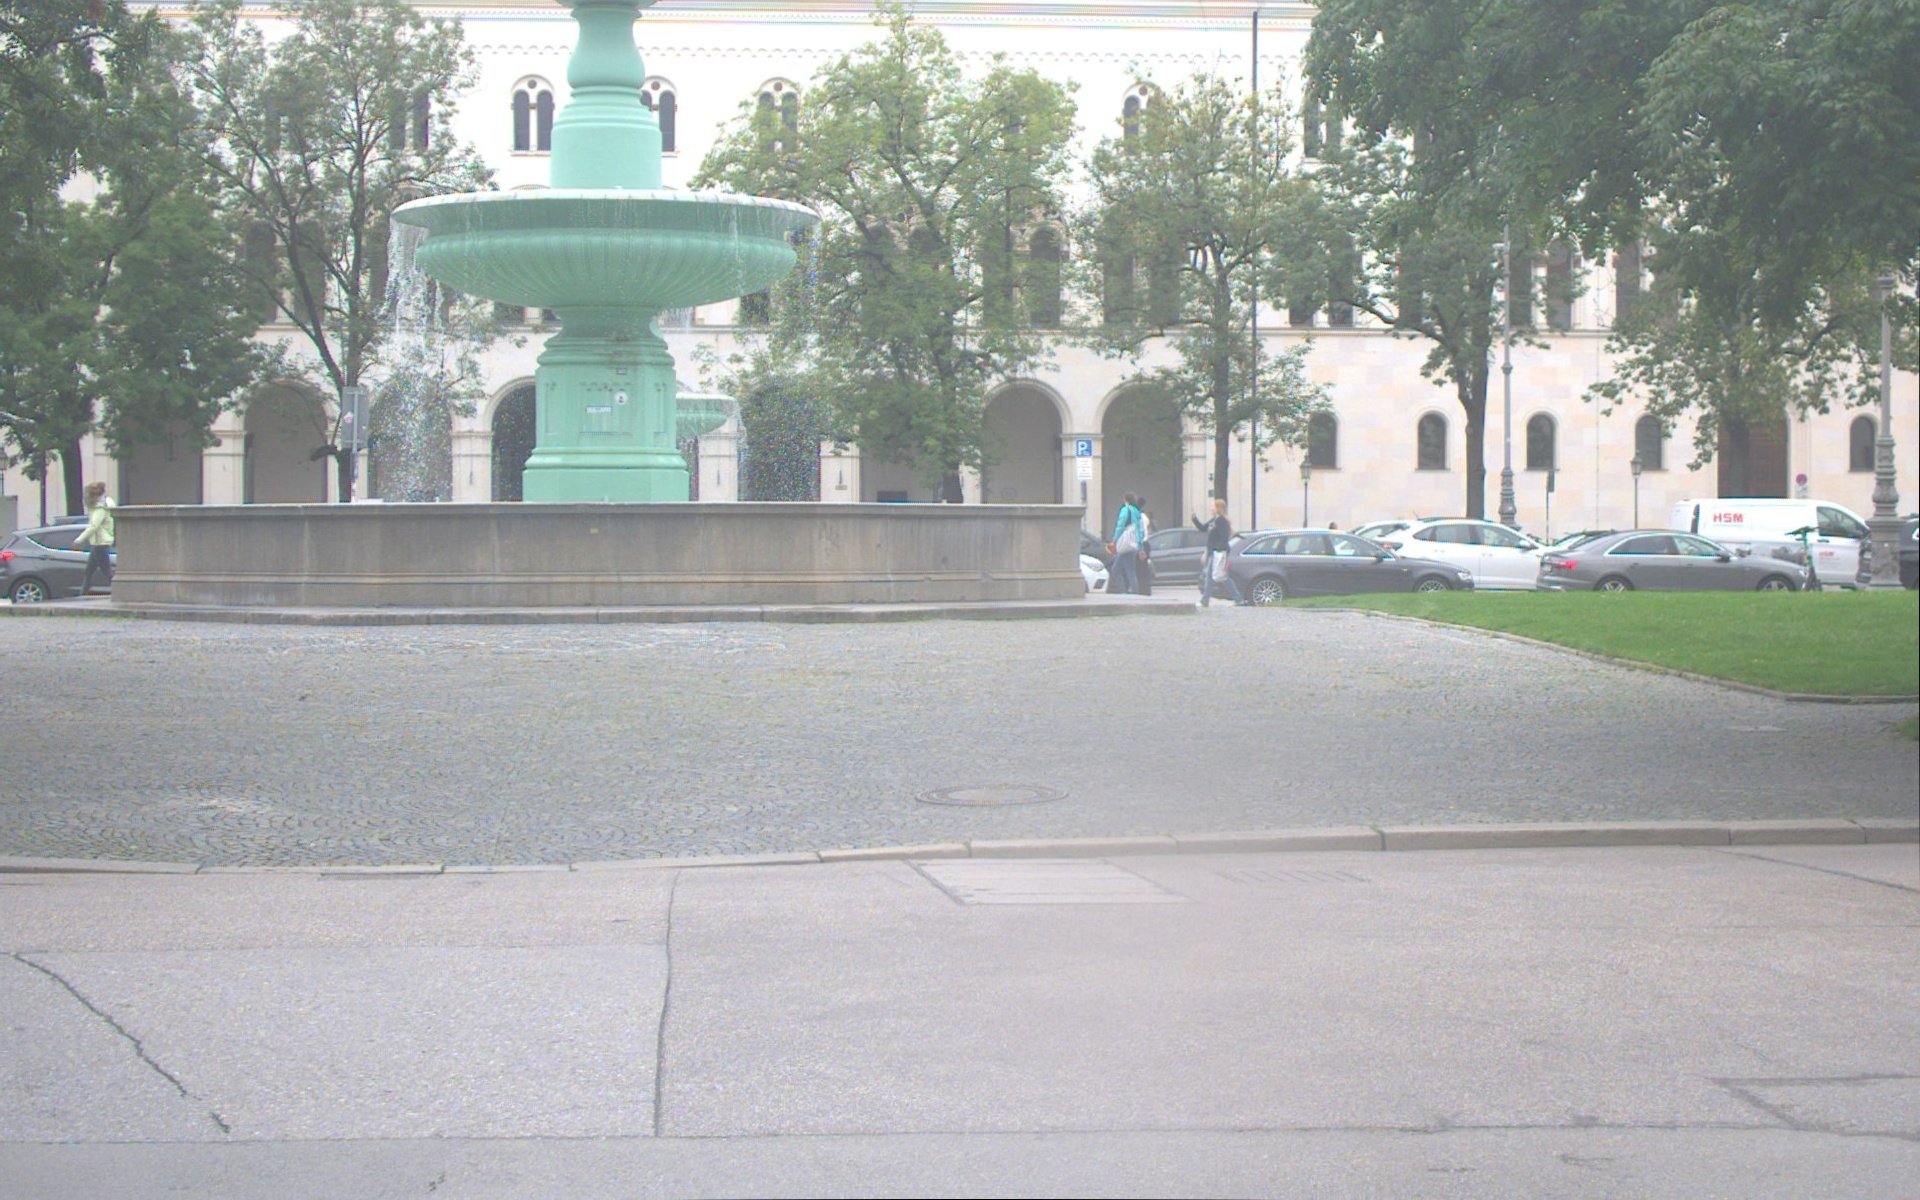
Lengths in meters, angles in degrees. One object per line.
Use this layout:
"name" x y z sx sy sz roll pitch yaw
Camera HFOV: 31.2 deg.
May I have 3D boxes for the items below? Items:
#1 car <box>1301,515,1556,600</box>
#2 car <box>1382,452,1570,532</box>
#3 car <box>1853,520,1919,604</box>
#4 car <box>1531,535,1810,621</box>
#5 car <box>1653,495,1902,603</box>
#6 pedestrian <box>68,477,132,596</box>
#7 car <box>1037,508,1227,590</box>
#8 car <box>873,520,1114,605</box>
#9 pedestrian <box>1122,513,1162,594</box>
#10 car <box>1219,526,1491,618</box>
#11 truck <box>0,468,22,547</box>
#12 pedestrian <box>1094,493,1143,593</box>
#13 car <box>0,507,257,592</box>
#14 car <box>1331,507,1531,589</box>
"car" 8.554 -0.785 63.030 4.357 1.519 1.804 0 2 -3
"car" 12.145 -2.545 81.049 3.986 1.777 1.932 1 2 -6
"car" 17.786 -0.660 59.074 4.357 1.413 1.804 0 2 -3
"car" 12.143 -0.385 58.950 4.357 1.413 1.804 0 2 -3
"car" 15.820 -0.999 66.676 4.326 2.006 1.824 1 2 -1
"pedestrian" -11.890 -0.880 47.531 0.750 1.634 0.710 0 2 -5
"car" 3.810 -1.140 76.622 3.986 1.744 1.809 1 2 -5
"car" 0.538 -0.643 58.190 3.986 1.398 1.825 0 1 -2
"pedestrian" 2.741 -0.702 51.769 0.443 1.210 0.535 1 2 22
"car" 6.683 -0.490 58.447 4.357 1.519 1.804 0 2 -3
"truck" -31.177 -2.993 110.358 1.993 2.480 4.002 1 2 -16
"pedestrian" 2.347 -0.851 50.890 0.582 1.460 0.547 1 2 19
"car" -13.764 -0.842 56.945 3.986 1.371 2.001 0 2 -6
"car" 10.536 -1.171 77.013 4.096 1.735 1.747 1 2 -8
